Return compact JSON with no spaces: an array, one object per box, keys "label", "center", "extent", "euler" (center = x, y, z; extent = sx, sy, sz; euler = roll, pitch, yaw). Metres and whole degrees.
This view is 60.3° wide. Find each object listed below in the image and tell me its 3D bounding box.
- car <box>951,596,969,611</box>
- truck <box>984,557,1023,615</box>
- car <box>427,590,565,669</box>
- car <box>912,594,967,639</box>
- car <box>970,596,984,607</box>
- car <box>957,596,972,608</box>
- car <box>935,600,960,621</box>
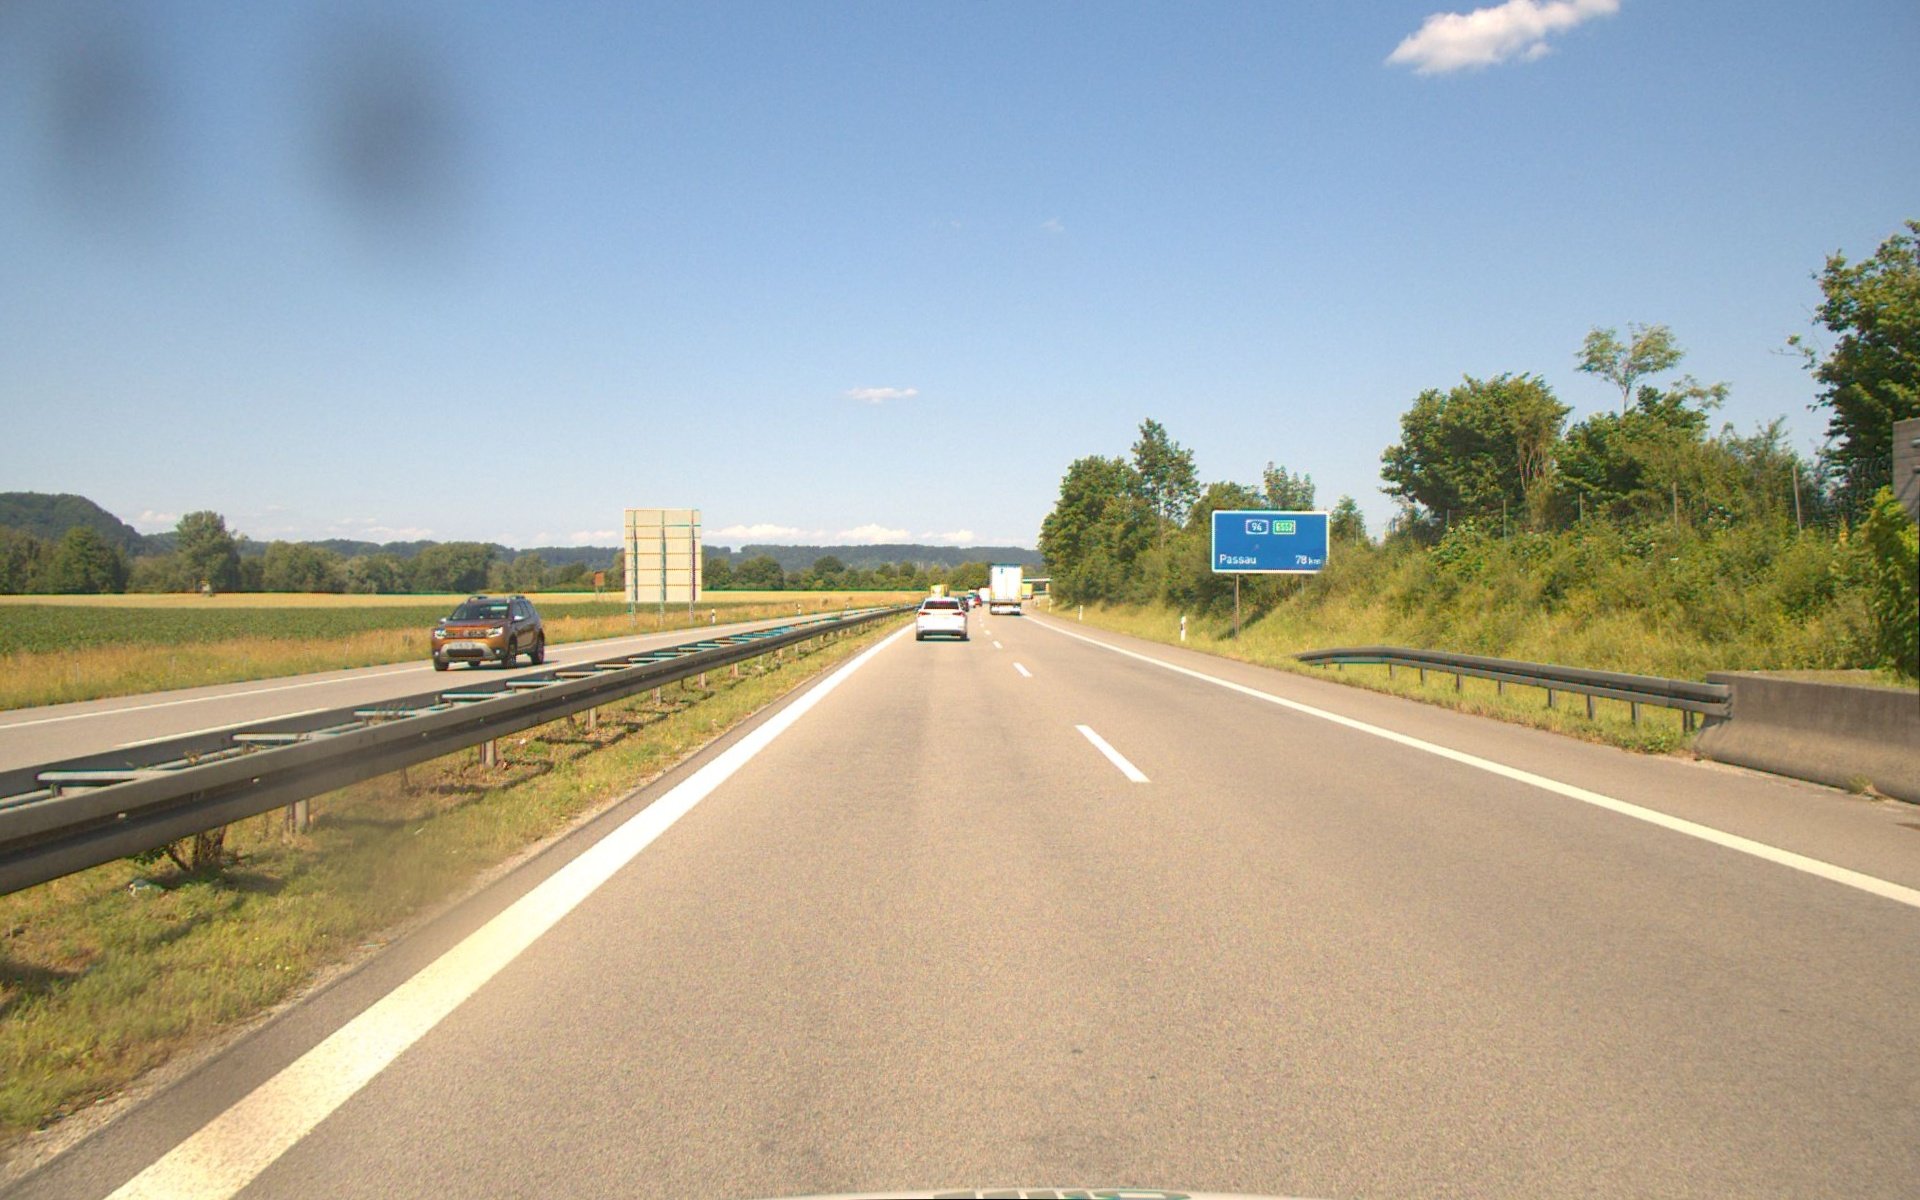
[{"label":"car","center":[0.013,0.316,163.693],"extent":[1.734,1.446,4.365],"euler":[1,0,1]},{"label":"truck","center":[3.627,-1.183,138.493],"extent":[3.087,4.693,8.907],"euler":[-1,0,2]},{"label":"car","center":[-10.958,0.655,39.422],"extent":[1.953,1.690,4.775],"euler":[-2,0,-1]},{"label":"car","center":[-0.699,0.537,57.506],"extent":[1.803,1.446,5.254],"euler":[1,0,-1]},{"label":"car","center":[2.337,0.179,223.720],"extent":[1.734,1.446,4.365],"euler":[1,0,2]},{"label":"car","center":[0.569,0.248,203.946],"extent":[1.734,1.446,4.365],"euler":[1,0,1]},{"label":"car","center":[-0.934,0.741,119.736],"extent":[1.735,1.446,4.494],"euler":[1,0,-1]}]
